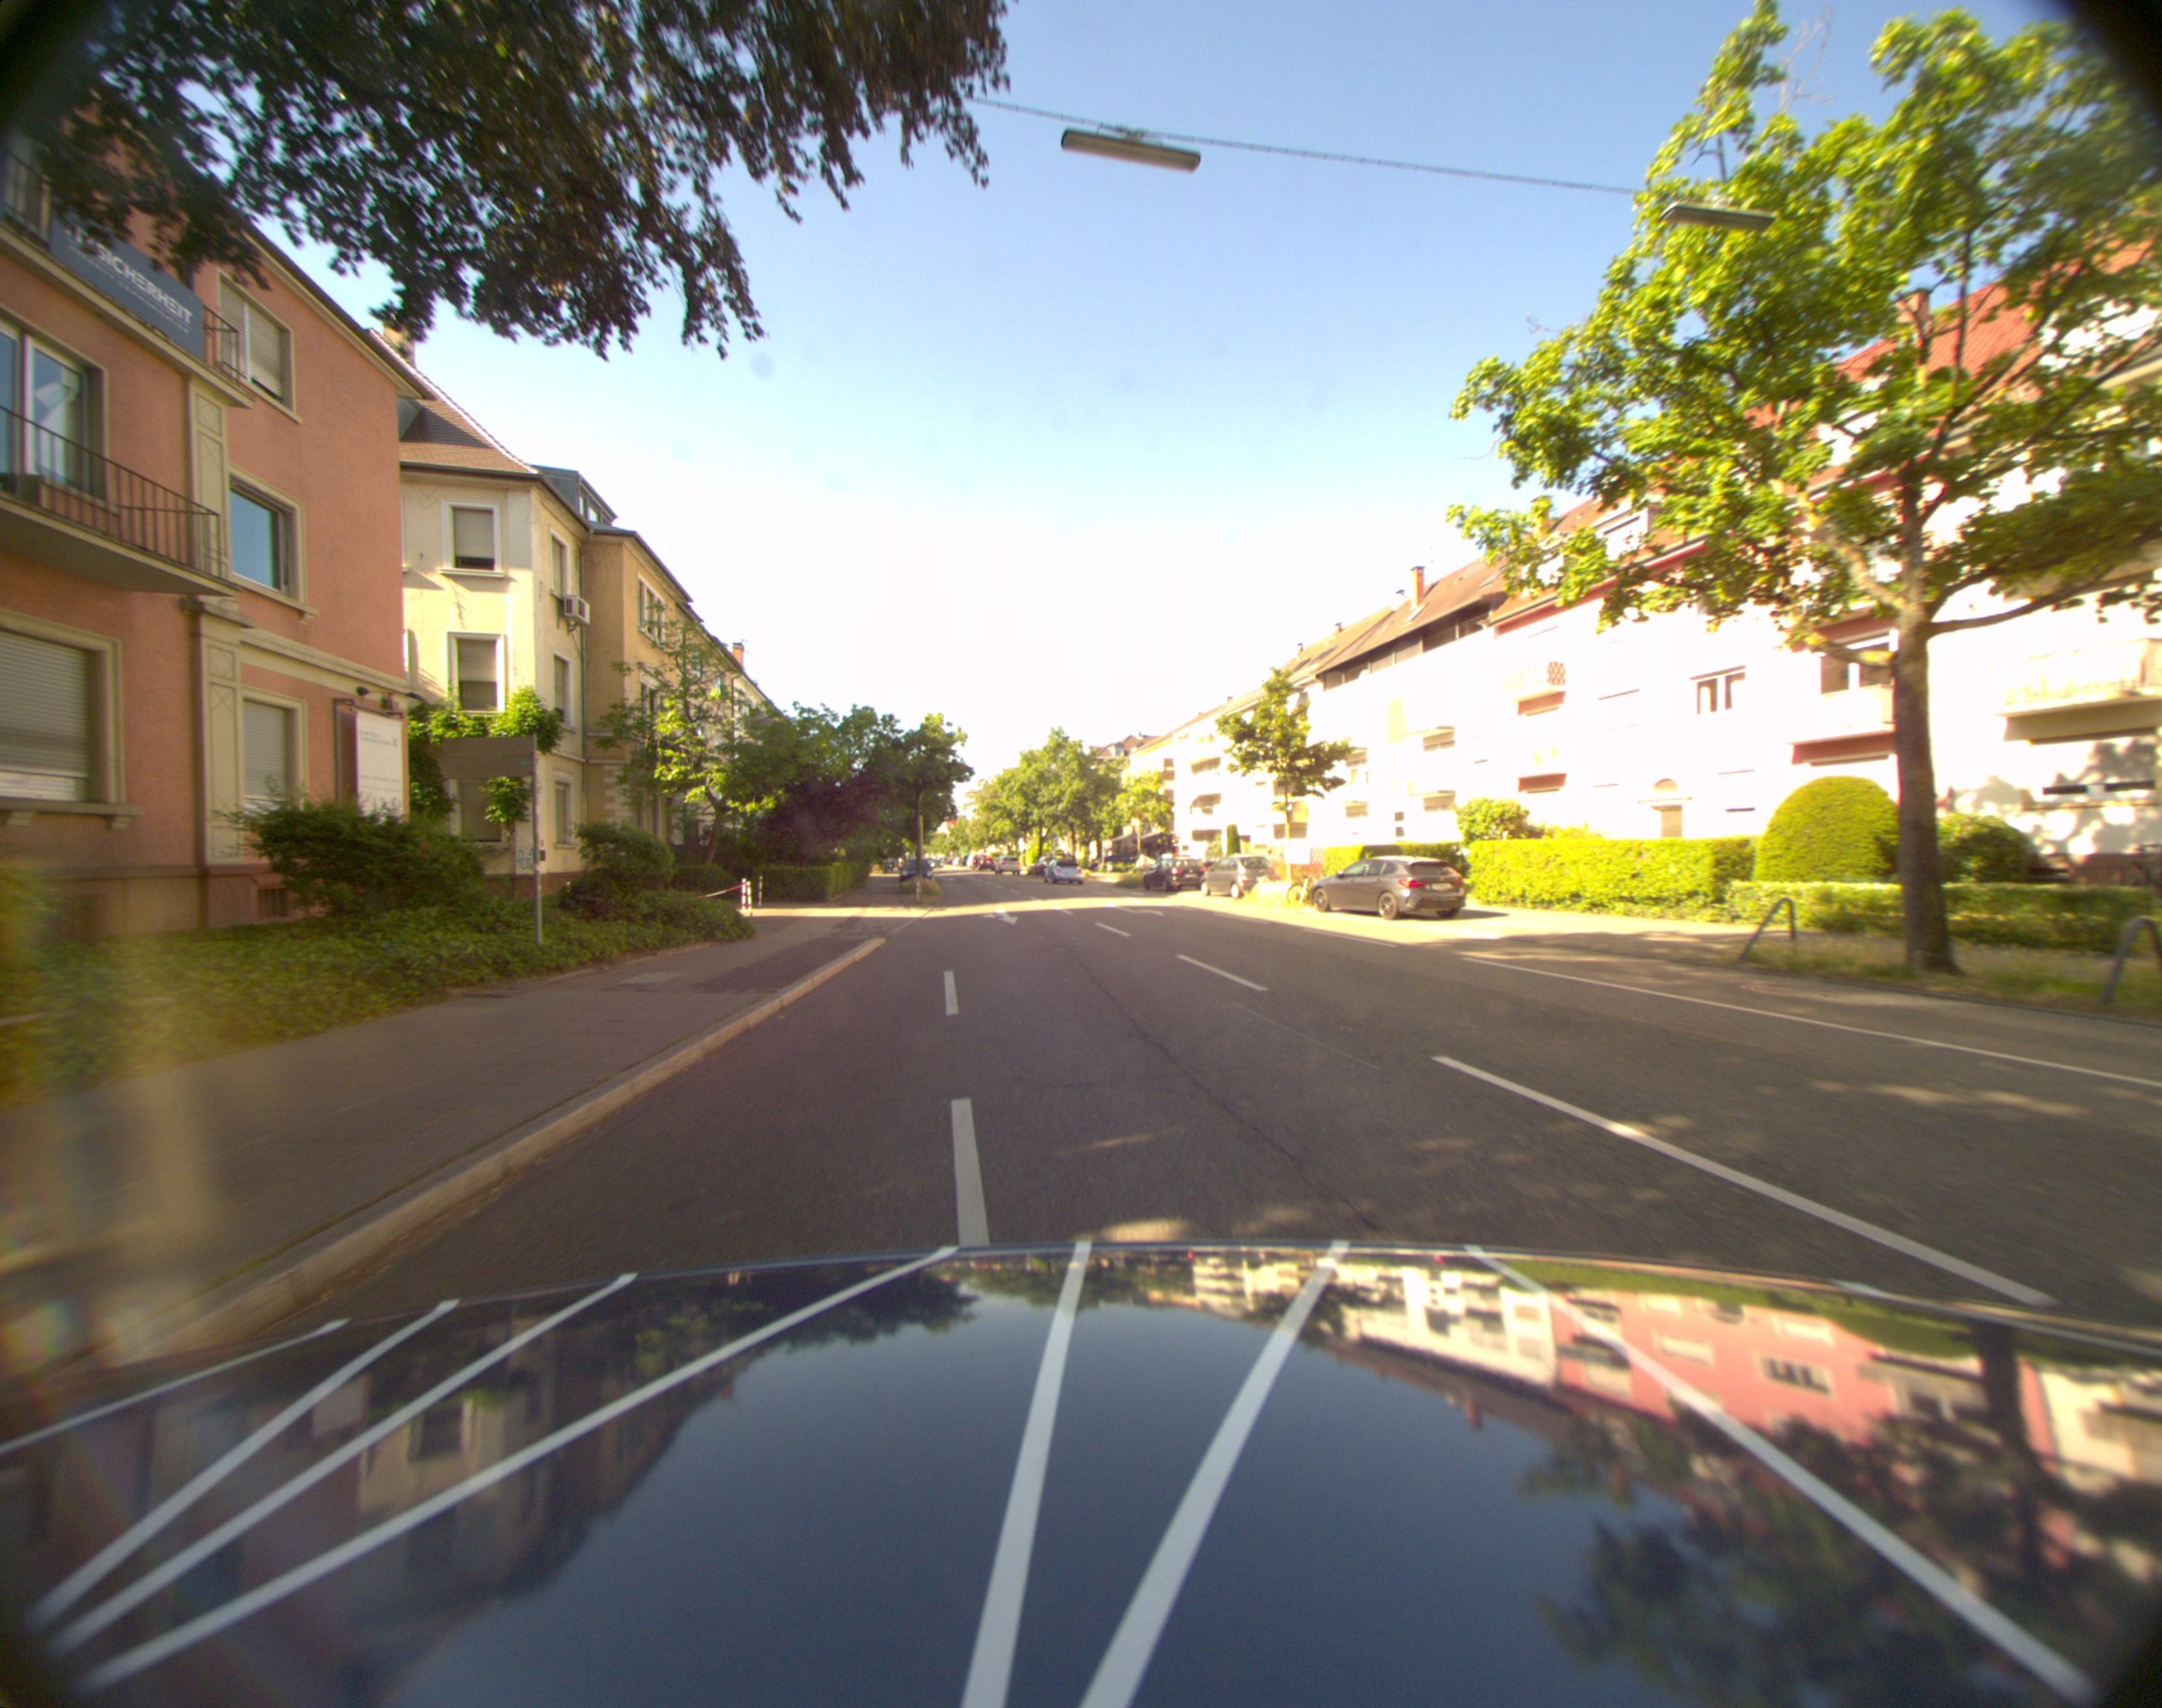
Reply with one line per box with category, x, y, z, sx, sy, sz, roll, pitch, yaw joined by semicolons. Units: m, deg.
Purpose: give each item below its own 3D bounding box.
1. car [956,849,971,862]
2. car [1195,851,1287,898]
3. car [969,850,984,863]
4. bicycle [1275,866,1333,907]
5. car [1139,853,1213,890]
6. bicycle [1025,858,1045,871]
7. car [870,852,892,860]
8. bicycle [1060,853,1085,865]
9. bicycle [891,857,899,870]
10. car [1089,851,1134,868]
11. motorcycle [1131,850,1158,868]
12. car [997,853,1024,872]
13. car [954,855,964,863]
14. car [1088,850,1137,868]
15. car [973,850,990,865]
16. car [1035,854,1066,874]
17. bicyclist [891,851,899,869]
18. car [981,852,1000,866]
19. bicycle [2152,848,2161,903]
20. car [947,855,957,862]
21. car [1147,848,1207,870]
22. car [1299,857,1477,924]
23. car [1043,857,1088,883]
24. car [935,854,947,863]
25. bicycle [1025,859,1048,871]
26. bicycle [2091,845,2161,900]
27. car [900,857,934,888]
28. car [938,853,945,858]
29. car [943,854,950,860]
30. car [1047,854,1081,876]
car;-18.948;0.270;122.308;2.024;1.940;5.172;1;0;-13
car;5.686;0.700;27.446;1.681;1.516;3.653;-3;1;-16
car;-15.096;0.353;109.671;1.822;1.732;4.487;1;0;-13
bicycle;6.483;0.932;22.084;1.549;1.127;0.547;0;0;-13
car;4.132;0.739;33.831;1.792;1.484;4.488;-1;0;-13
bicycle;-4.462;1.023;73.633;1.933;1.128;0.463;-2;1;15
car;-38.070;0.354;144.630;4.002;1.432;1.829;2;0;-12
bicycle;-0.957;0.563;86.098;0.949;1.255;3.181;2;3;44
bicycle;-18.658;0.930;76.192;0.700;1.239;1.820;0;0;-12
car;2.814;0.524;69.534;3.995;1.447;1.734;-2;0;6
motorcycle;5.343;0.421;64.225;2.156;1.477;0.781;-2;1;-4
car;-6.384;0.708;68.237;1.813;1.638;4.667;1;0;-13
car;-22.882;0.882;142.316;1.739;1.404;4.187;1;0;-12
car;2.727;0.450;66.204;3.998;1.452;1.732;-2;0;-4
car;-13.259;0.465;100.696;1.810;1.899;4.706;1;0;-12
car;-2.554;0.800;62.612;1.728;1.587;4.130;-2;1;-15
bicyclist;-18.639;0.623;76.200;0.726;1.783;1.014;0;0;-12
car;-10.814;0.579;90.294;1.725;1.557;4.337;2;0;-13
bicycle;19.164;0.342;12.713;2.123;0.924;0.571;-1;1;-10
car;-27.259;0.878;160.554;1.587;1.443;3.740;-1;0;-15
car;7.143;0.397;56.584;4.001;1.478;1.879;-2;0;-13
car;7.371;0.803;18.787;1.774;1.400;4.360;-2;0;-16
car;-0.925;0.877;43.068;1.744;1.373;3.932;0;0;-13
car;-20.942;0.640;113.365;1.656;1.348;4.299;-1;0;-12
bicycle;-4.139;0.995;70.468;2.026;1.085;0.462;-2;1;11
bicycle;19.070;0.302;13.420;2.123;0.924;0.571;-1;1;-10
car;-8.491;0.920;39.231;1.565;1.506;3.650;1;0;-14
car;-38.289;0.474;208.584;1.587;1.443;3.740;-1;0;-15
car;-34.046;0.815;192.461;1.587;1.443;3.740;-1;0;-15
car;-1.336;0.763;57.646;1.728;1.527;4.674;-2;1;-12
